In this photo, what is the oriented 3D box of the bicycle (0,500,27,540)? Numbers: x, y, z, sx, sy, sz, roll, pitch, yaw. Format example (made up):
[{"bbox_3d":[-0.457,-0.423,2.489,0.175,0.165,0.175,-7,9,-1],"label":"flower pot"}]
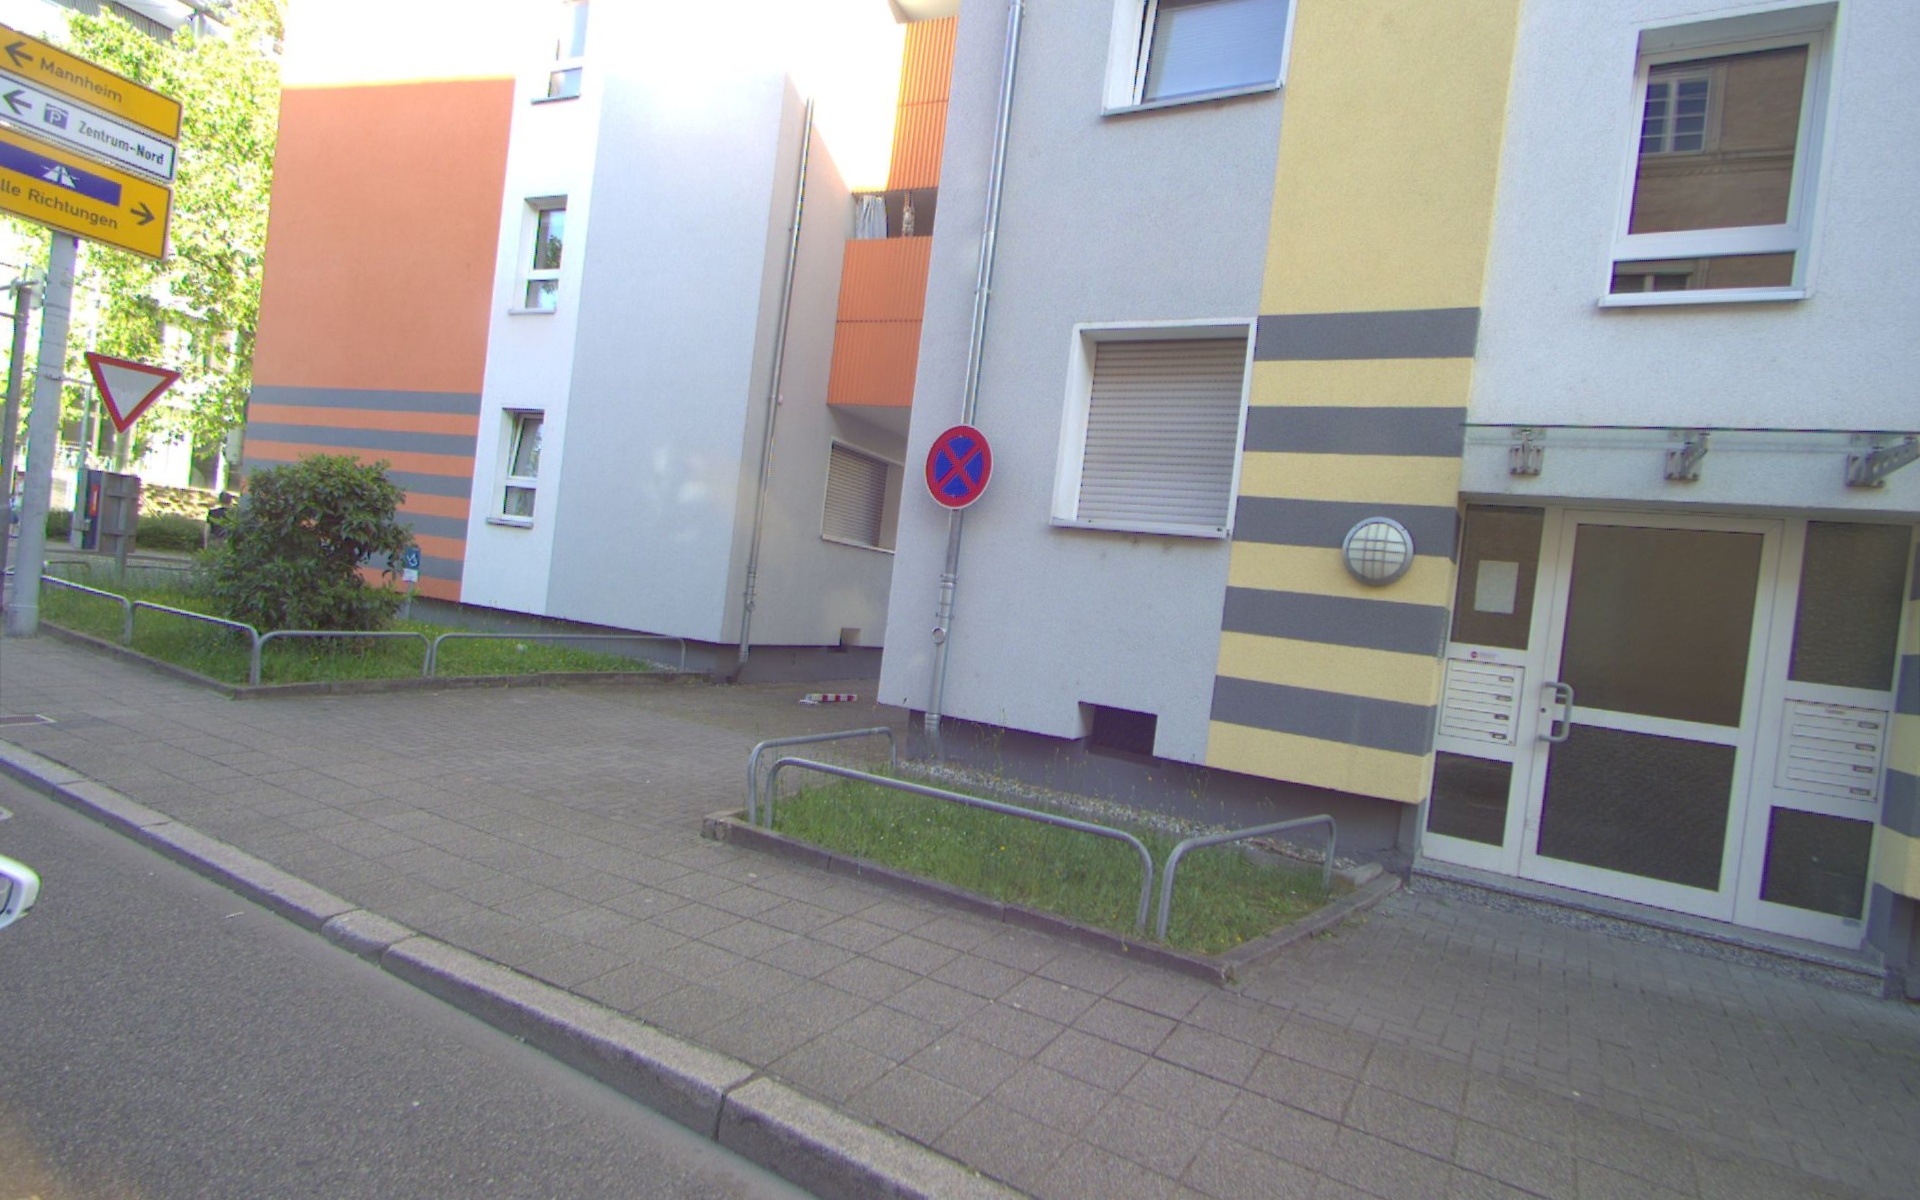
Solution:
[{"bbox_3d":[-26.401,-2.239,27.393,1.409,1.021,0.379,7,1,-11],"label":"bicycle"}]

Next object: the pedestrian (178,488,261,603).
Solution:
[{"bbox_3d":[-12.550,-0.902,17.071,0.690,1.831,0.719,7,-1,-9],"label":"pedestrian"}]

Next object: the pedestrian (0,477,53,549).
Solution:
[{"bbox_3d":[-24.512,-2.285,26.409,0.637,1.739,0.766,6,-1,34],"label":"pedestrian"}]

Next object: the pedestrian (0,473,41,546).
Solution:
[{"bbox_3d":[-25.152,-2.407,26.756,0.637,1.816,0.765,6,-1,35],"label":"pedestrian"}]
